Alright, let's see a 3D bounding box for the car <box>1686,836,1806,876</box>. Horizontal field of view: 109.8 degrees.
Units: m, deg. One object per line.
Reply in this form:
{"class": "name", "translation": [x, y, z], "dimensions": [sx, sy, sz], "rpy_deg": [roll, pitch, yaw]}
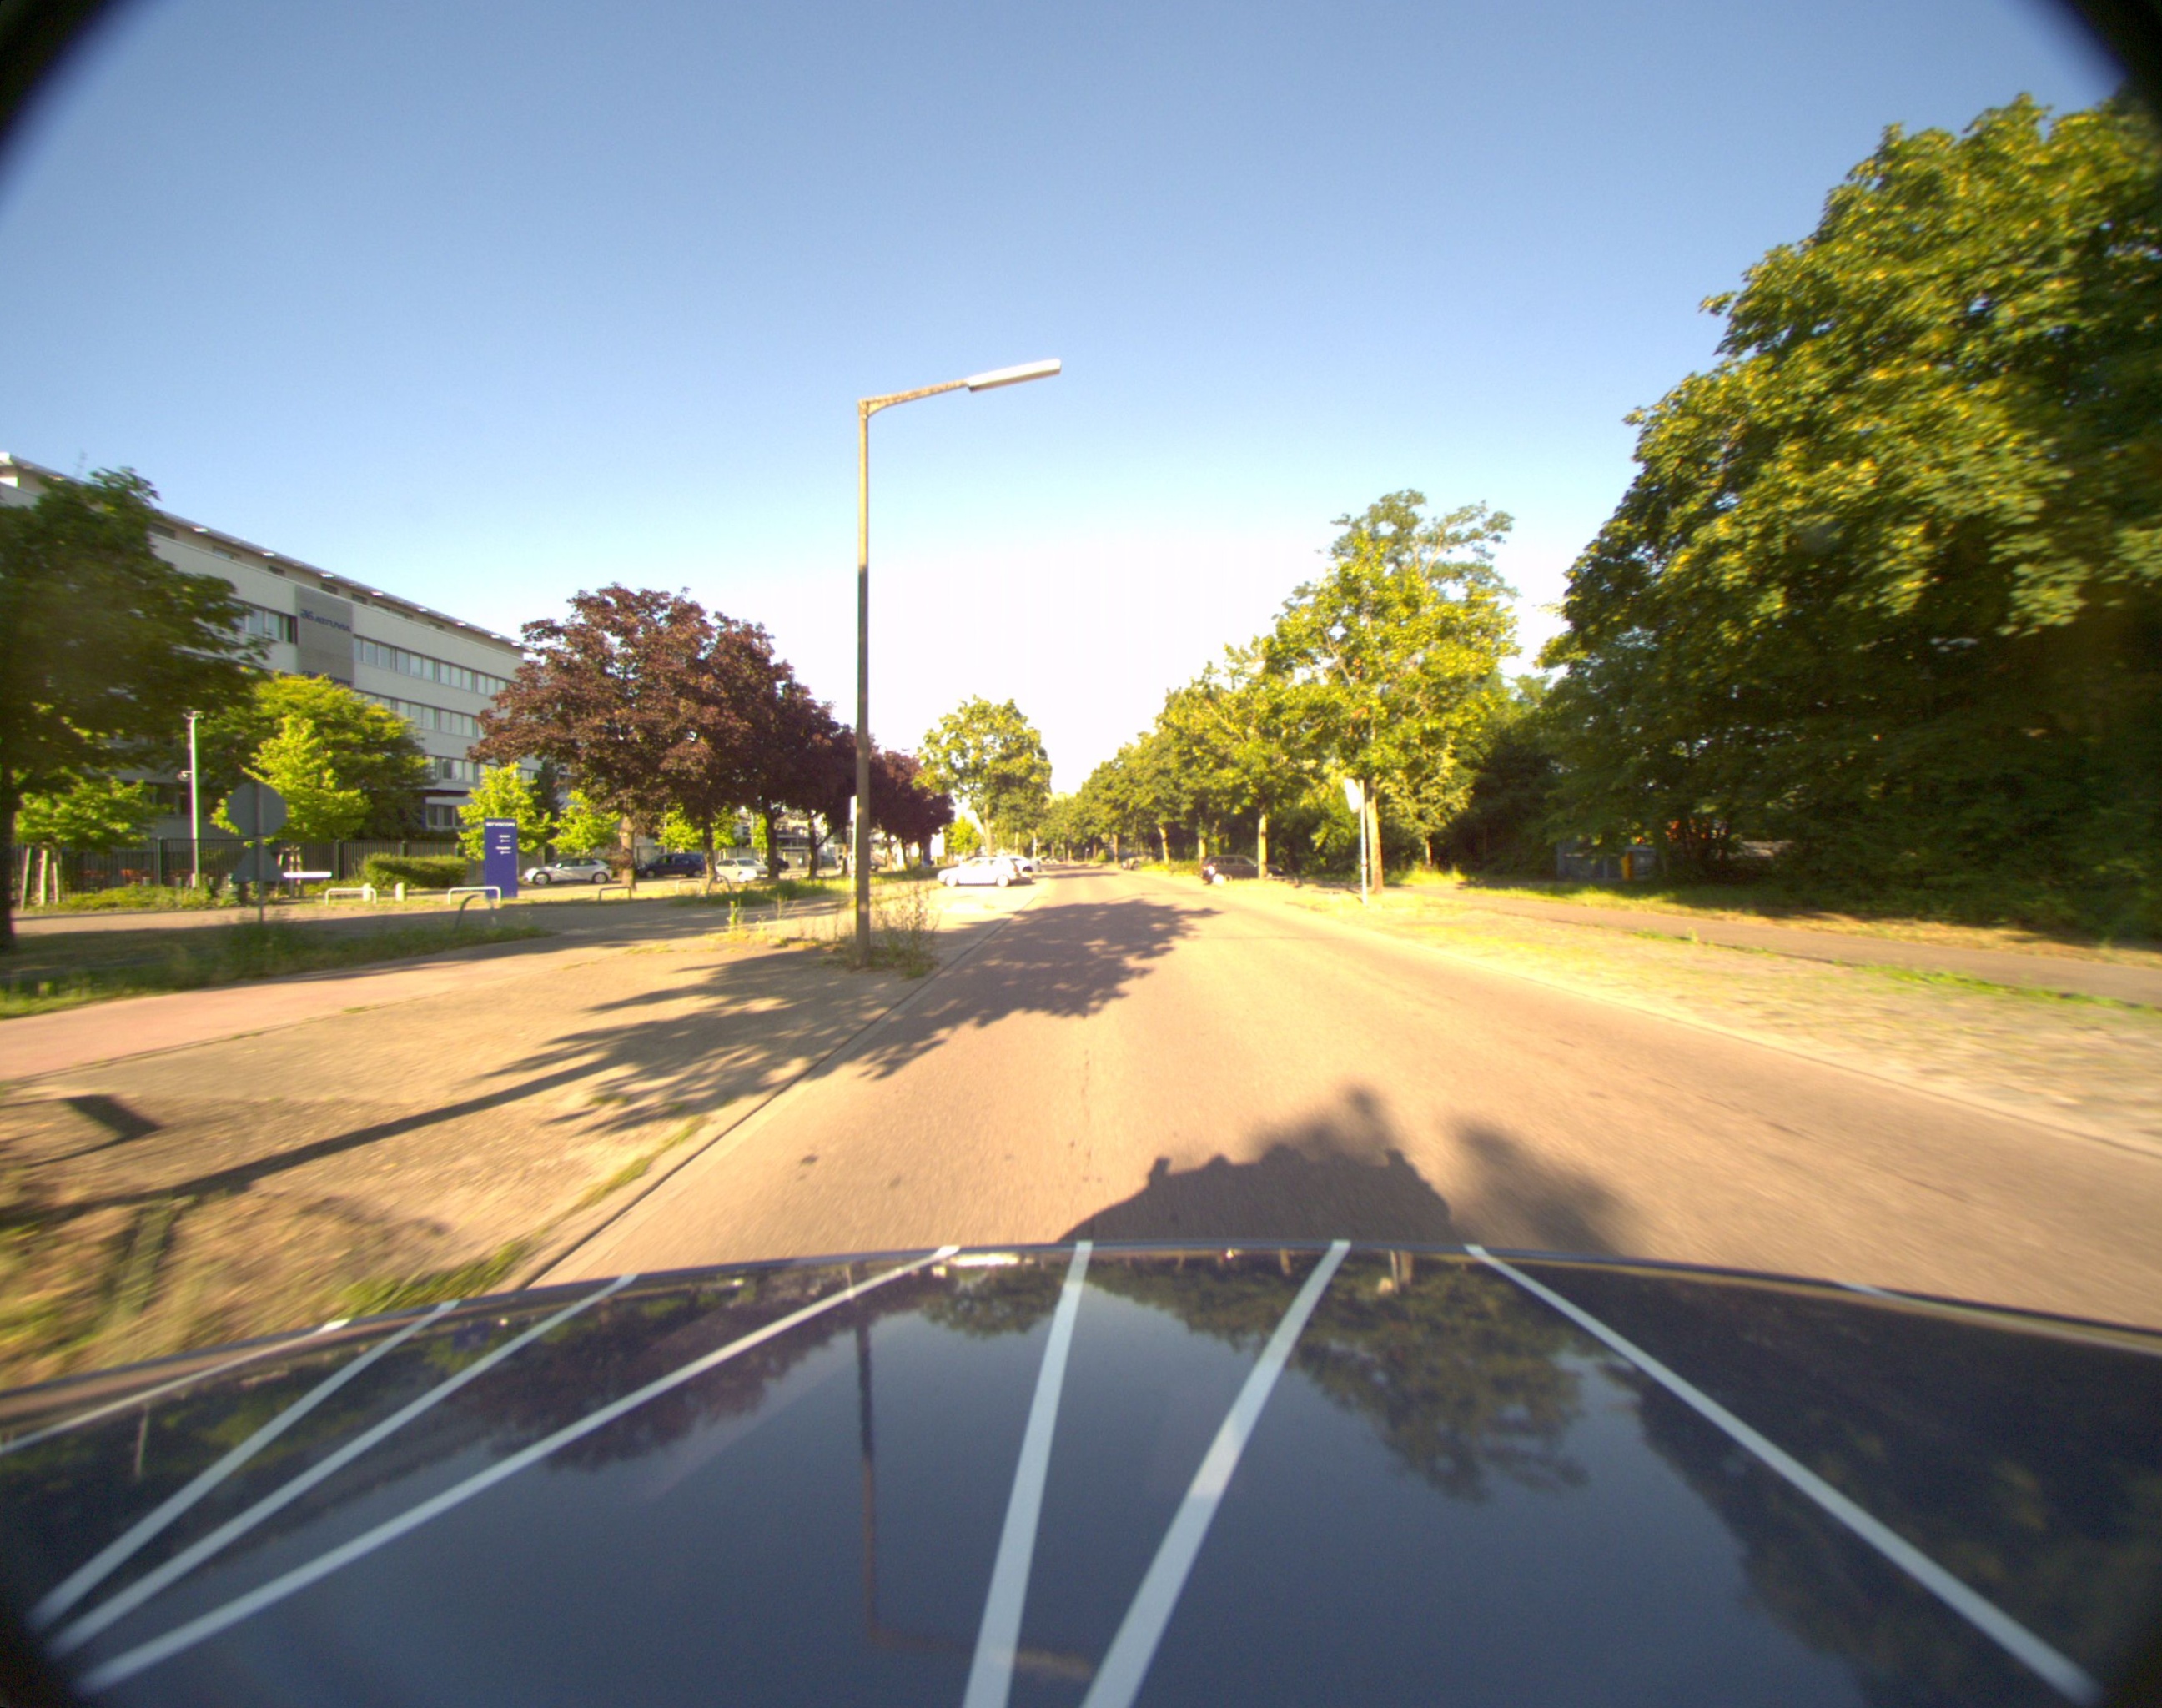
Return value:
{"class": "car", "translation": [30.383, 0.082, 34.900], "dimensions": [1.913, 1.717, 3.999], "rpy_deg": [0, 0, -3]}

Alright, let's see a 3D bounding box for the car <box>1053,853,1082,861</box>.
{"class": "car", "translation": [-2.489, 0.547, 139.741], "dimensions": [5.053, 1.453, 1.998], "rpy_deg": [-2, 1, -13]}

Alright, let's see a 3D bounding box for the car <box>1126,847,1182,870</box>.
{"class": "car", "translation": [7.141, 0.411, 74.764], "dimensions": [5.020, 2.008, 2.173], "rpy_deg": [-3, 1, -6]}

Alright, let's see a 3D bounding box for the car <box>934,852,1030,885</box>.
{"class": "car", "translation": [-4.896, 0.701, 37.872], "dimensions": [4.366, 1.470, 2.001], "rpy_deg": [2, 1, 8]}

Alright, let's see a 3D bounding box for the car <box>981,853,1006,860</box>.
{"class": "car", "translation": [-16.753, 0.496, 145.782], "dimensions": [4.498, 1.396, 2.031], "rpy_deg": [0, 0, -13]}

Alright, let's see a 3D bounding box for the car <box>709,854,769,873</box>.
{"class": "car", "translation": [-28.992, 0.784, 64.491], "dimensions": [4.321, 1.520, 1.802], "rpy_deg": [-1, 1, -39]}

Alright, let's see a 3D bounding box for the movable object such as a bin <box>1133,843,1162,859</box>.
{"class": "movable object such as a bin", "translation": [11.626, -0.543, 132.925], "dimensions": [4.790, 2.649, 2.169], "rpy_deg": [0, 0, 41]}

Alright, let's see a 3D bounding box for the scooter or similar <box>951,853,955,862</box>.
{"class": "scooter or similar", "translation": [-17.639, 0.490, 104.844], "dimensions": [0.521, 1.264, 1.386], "rpy_deg": [0, 0, -8]}

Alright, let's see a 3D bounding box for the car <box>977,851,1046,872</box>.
{"class": "car", "translation": [-5.287, 0.579, 58.039], "dimensions": [5.190, 1.565, 2.157], "rpy_deg": [0, 0, -5]}

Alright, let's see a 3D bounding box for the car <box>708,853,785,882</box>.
{"class": "car", "translation": [-19.740, 0.752, 44.753], "dimensions": [4.939, 1.565, 2.004], "rpy_deg": [0, 1, 38]}

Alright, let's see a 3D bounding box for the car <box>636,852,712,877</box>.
{"class": "car", "translation": [-29.014, 0.712, 54.259], "dimensions": [4.505, 1.739, 1.762], "rpy_deg": [0, 0, -44]}

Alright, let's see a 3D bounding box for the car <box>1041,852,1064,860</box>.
{"class": "car", "translation": [-5.936, 0.433, 156.732], "dimensions": [4.496, 1.522, 1.998], "rpy_deg": [-2, 1, -13]}

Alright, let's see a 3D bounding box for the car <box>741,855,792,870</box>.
{"class": "car", "translation": [-29.412, 0.781, 71.037], "dimensions": [4.008, 1.346, 1.802], "rpy_deg": [-1, 1, -43]}

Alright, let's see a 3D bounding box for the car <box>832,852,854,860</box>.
{"class": "car", "translation": [-39.681, 0.347, 126.586], "dimensions": [2.036, 1.423, 4.561], "rpy_deg": [0, 0, 3]}

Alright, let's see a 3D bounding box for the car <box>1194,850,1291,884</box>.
{"class": "car", "translation": [8.079, 0.623, 38.293], "dimensions": [4.370, 1.470, 1.999], "rpy_deg": [-2, 0, -2]}

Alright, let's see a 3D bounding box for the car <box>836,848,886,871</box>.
{"class": "car", "translation": [-19.451, 0.509, 67.099], "dimensions": [4.940, 1.922, 2.004], "rpy_deg": [-2, -1, 45]}

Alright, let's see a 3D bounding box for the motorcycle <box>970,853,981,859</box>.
{"class": "motorcycle", "translation": [-23.960, 0.418, 172.300], "dimensions": [2.134, 1.457, 0.947], "rpy_deg": [0, 0, -29]}

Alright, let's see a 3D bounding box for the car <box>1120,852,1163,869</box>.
{"class": "car", "translation": [6.253, 0.643, 78.697], "dimensions": [4.224, 1.521, 1.704], "rpy_deg": [-3, 1, -6]}

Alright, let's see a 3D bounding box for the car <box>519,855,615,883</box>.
{"class": "car", "translation": [-29.128, 0.797, 43.115], "dimensions": [4.313, 1.518, 1.762], "rpy_deg": [0, 0, -41]}

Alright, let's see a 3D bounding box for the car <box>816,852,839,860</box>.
{"class": "car", "translation": [-42.125, 0.348, 126.307], "dimensions": [2.036, 1.423, 4.561], "rpy_deg": [0, 0, 3]}
